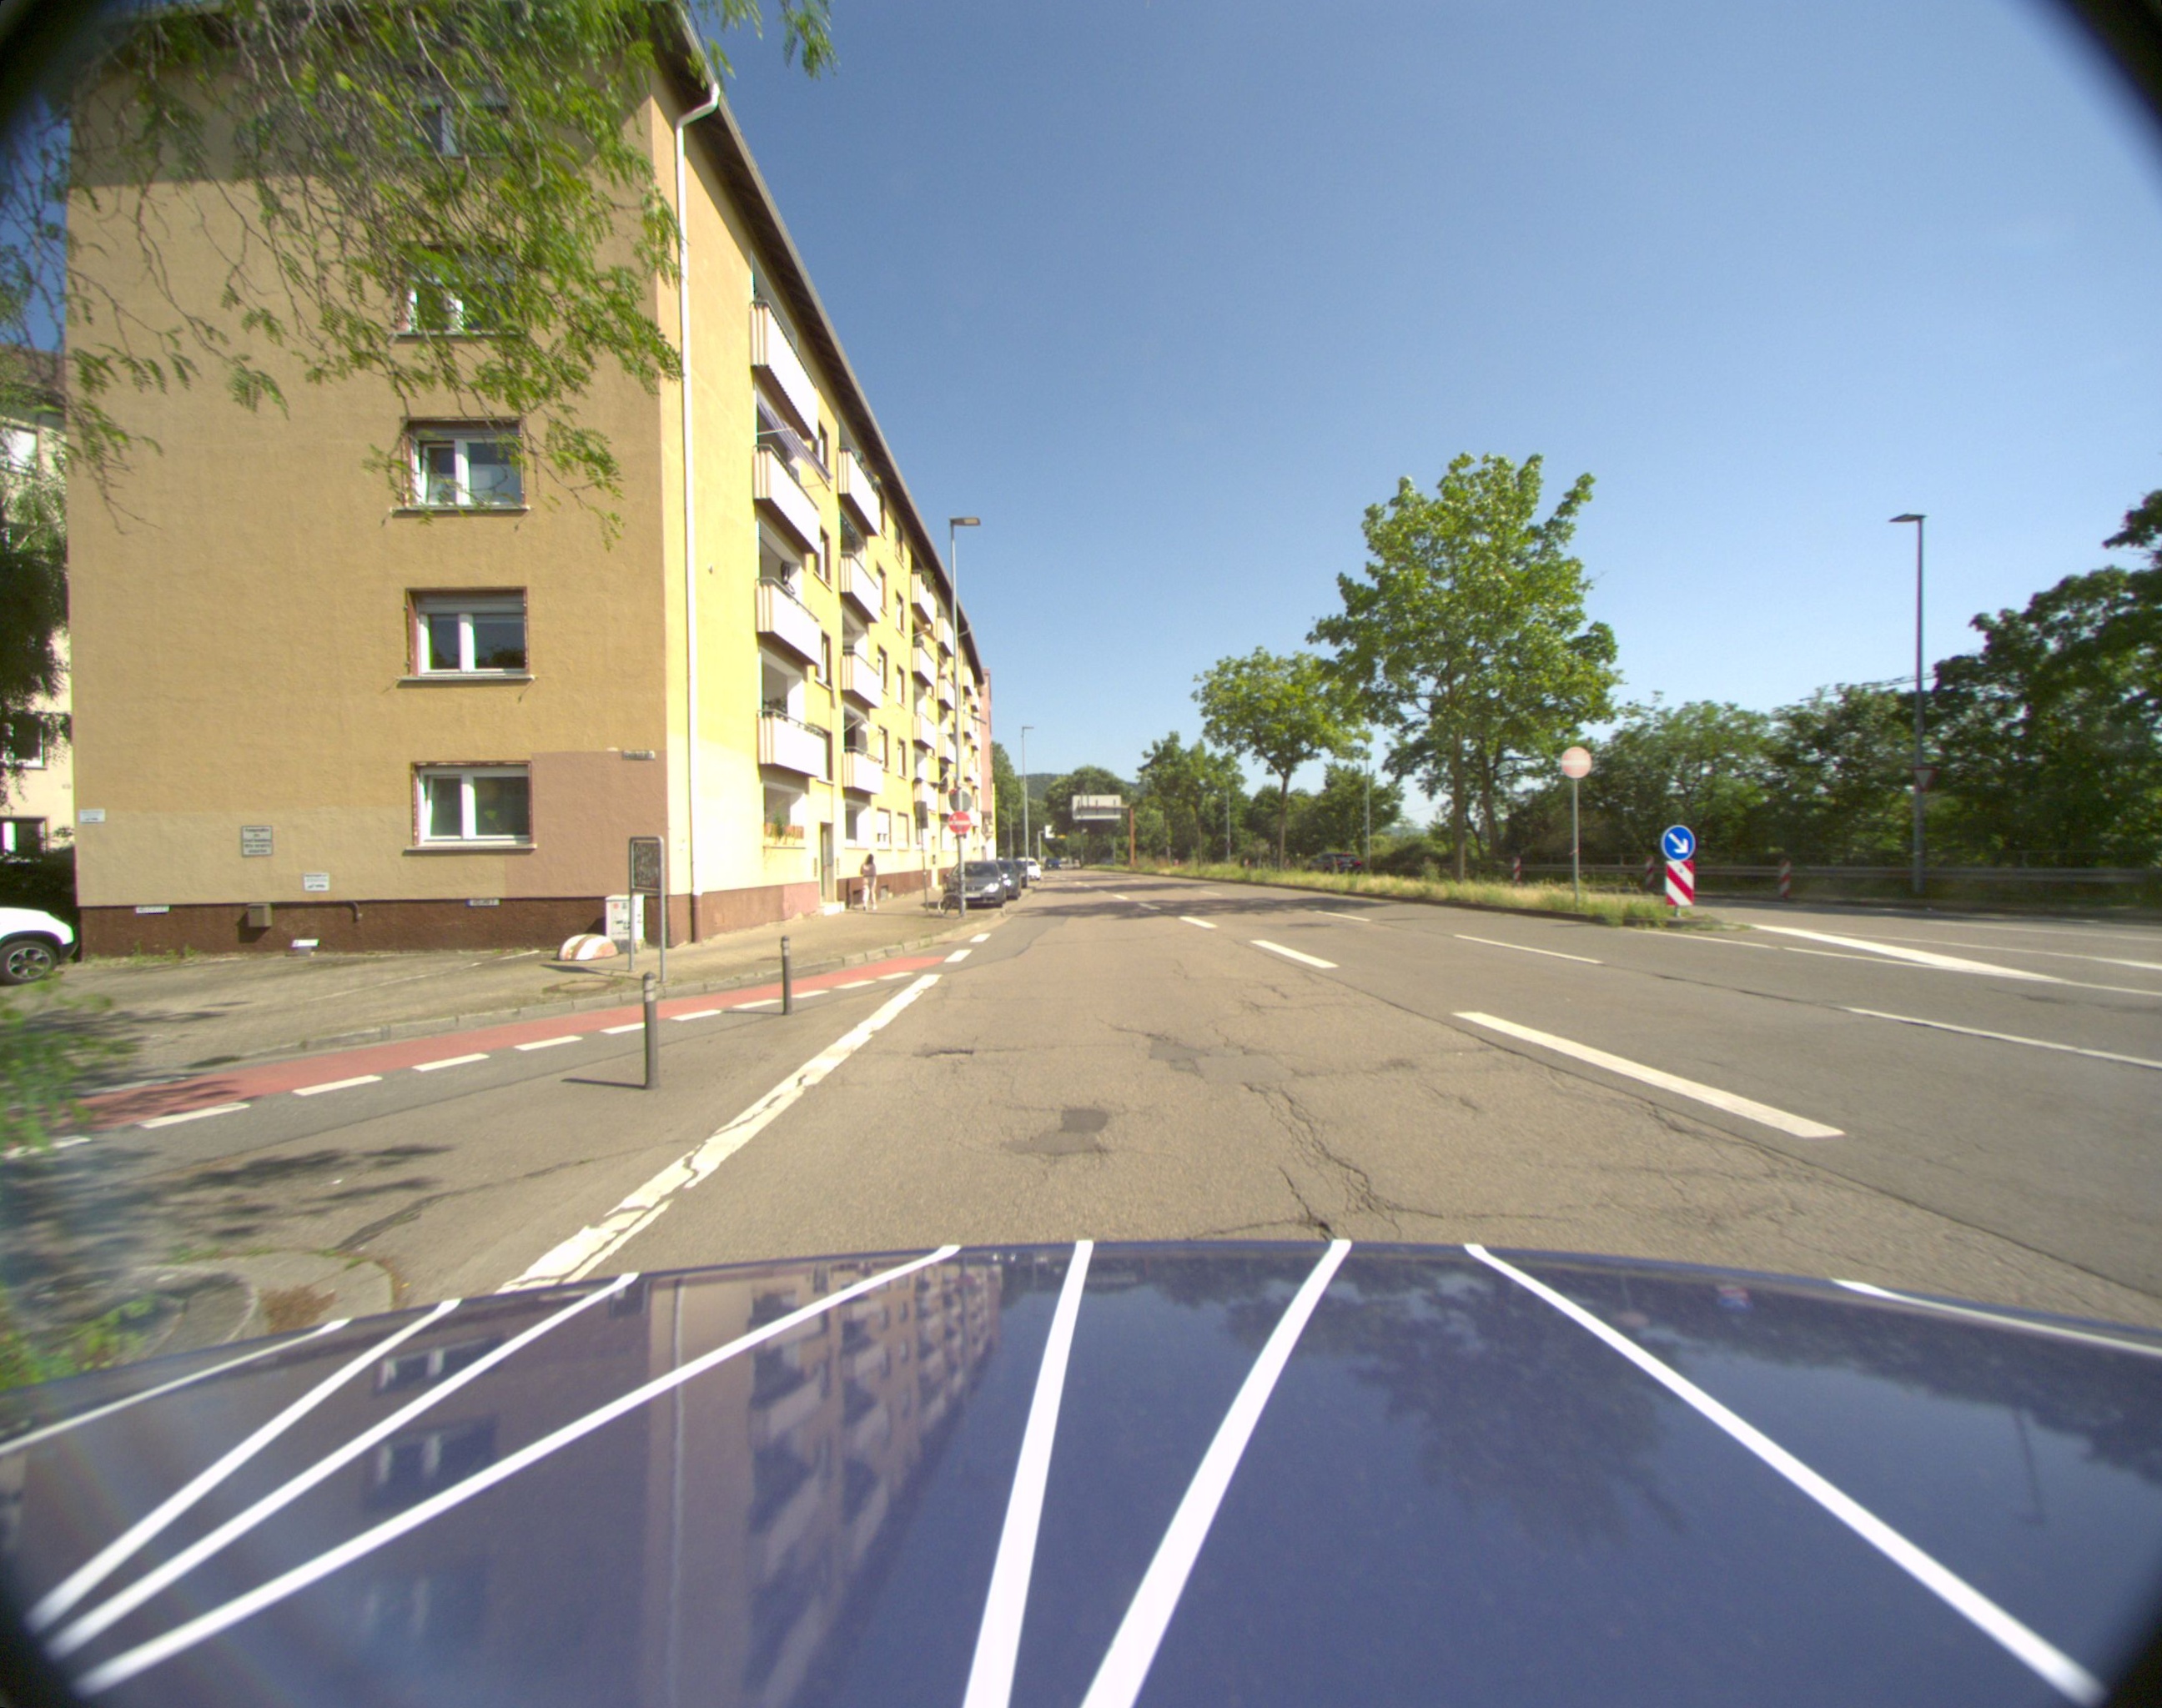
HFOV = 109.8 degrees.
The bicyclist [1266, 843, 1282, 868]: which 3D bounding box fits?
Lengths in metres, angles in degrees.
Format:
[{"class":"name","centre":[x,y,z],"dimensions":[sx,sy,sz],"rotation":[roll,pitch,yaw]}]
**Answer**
[{"class":"bicyclist","centre":[14.416,0.122,56.771],"dimensions":[0.699,1.821,1.016],"rotation":[-1,1,-11]}]

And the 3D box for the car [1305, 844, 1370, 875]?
[{"class":"car","centre":[15.237,0.294,45.452],"dimensions":[1.999,1.724,4.728],"rotation":[-1,0,-4]}]

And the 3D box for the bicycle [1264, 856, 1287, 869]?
[{"class":"bicycle","centre":[14.476,0.622,56.544],"dimensions":[0.695,0.900,2.340],"rotation":[-1,0,-11]}]

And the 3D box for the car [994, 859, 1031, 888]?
[{"class":"car","centre":[-3.529,0.960,39.809],"dimensions":[1.805,1.429,4.588],"rotation":[0,0,-4]}]

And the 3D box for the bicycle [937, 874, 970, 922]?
[{"class":"bicycle","centre":[-3.184,1.073,19.110],"dimensions":[0.704,1.117,1.744],"rotation":[-1,0,-6]}]

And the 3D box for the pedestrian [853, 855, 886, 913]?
[{"class":"pedestrian","centre":[-6.035,0.842,21.722],"dimensions":[0.657,1.599,0.824],"rotation":[1,0,1]}]

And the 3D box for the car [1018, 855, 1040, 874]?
[{"class":"car","centre":[-4.317,0.875,63.256],"dimensions":[1.741,1.532,4.352],"rotation":[0,0,-3]}]

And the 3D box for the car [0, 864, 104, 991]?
[{"class":"car","centre":[-15.081,1.013,9.113],"dimensions":[1.659,1.631,3.785],"rotation":[-1,1,4]}]

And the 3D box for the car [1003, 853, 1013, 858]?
[{"class":"car","centre":[-19.822,0.433,205.923],"dimensions":[1.683,1.460,3.569],"rotation":[-1,0,-24]}]

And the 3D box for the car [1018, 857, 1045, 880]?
[{"class":"car","centre":[-3.436,0.983,52.667],"dimensions":[1.761,1.497,4.126],"rotation":[-2,0,-3]}]

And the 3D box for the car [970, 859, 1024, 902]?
[{"class":"car","centre":[-3.066,0.938,28.360],"dimensions":[1.715,1.453,4.255],"rotation":[-1,0,-3]}]

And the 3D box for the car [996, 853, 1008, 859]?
[{"class":"car","centre":[-20.567,0.483,198.647],"dimensions":[1.872,1.444,4.196],"rotation":[-1,0,-24]}]

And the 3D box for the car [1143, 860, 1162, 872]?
[{"class":"car","centre":[9.732,1.601,103.668],"dimensions":[1.803,1.521,3.998],"rotation":[-1,0,-6]}]

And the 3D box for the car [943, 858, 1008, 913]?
[{"class":"car","centre":[-3.200,0.894,23.650],"dimensions":[1.708,1.505,4.090],"rotation":[-1,0,-4]}]

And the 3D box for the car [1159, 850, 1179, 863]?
[{"class":"car","centre":[10.626,0.309,91.867],"dimensions":[1.768,1.465,4.083],"rotation":[-1,0,-3]}]

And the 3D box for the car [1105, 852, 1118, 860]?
[{"class":"car","centre":[5.357,0.321,132.970],"dimensions":[1.650,1.408,3.968],"rotation":[-1,0,-7]}]
